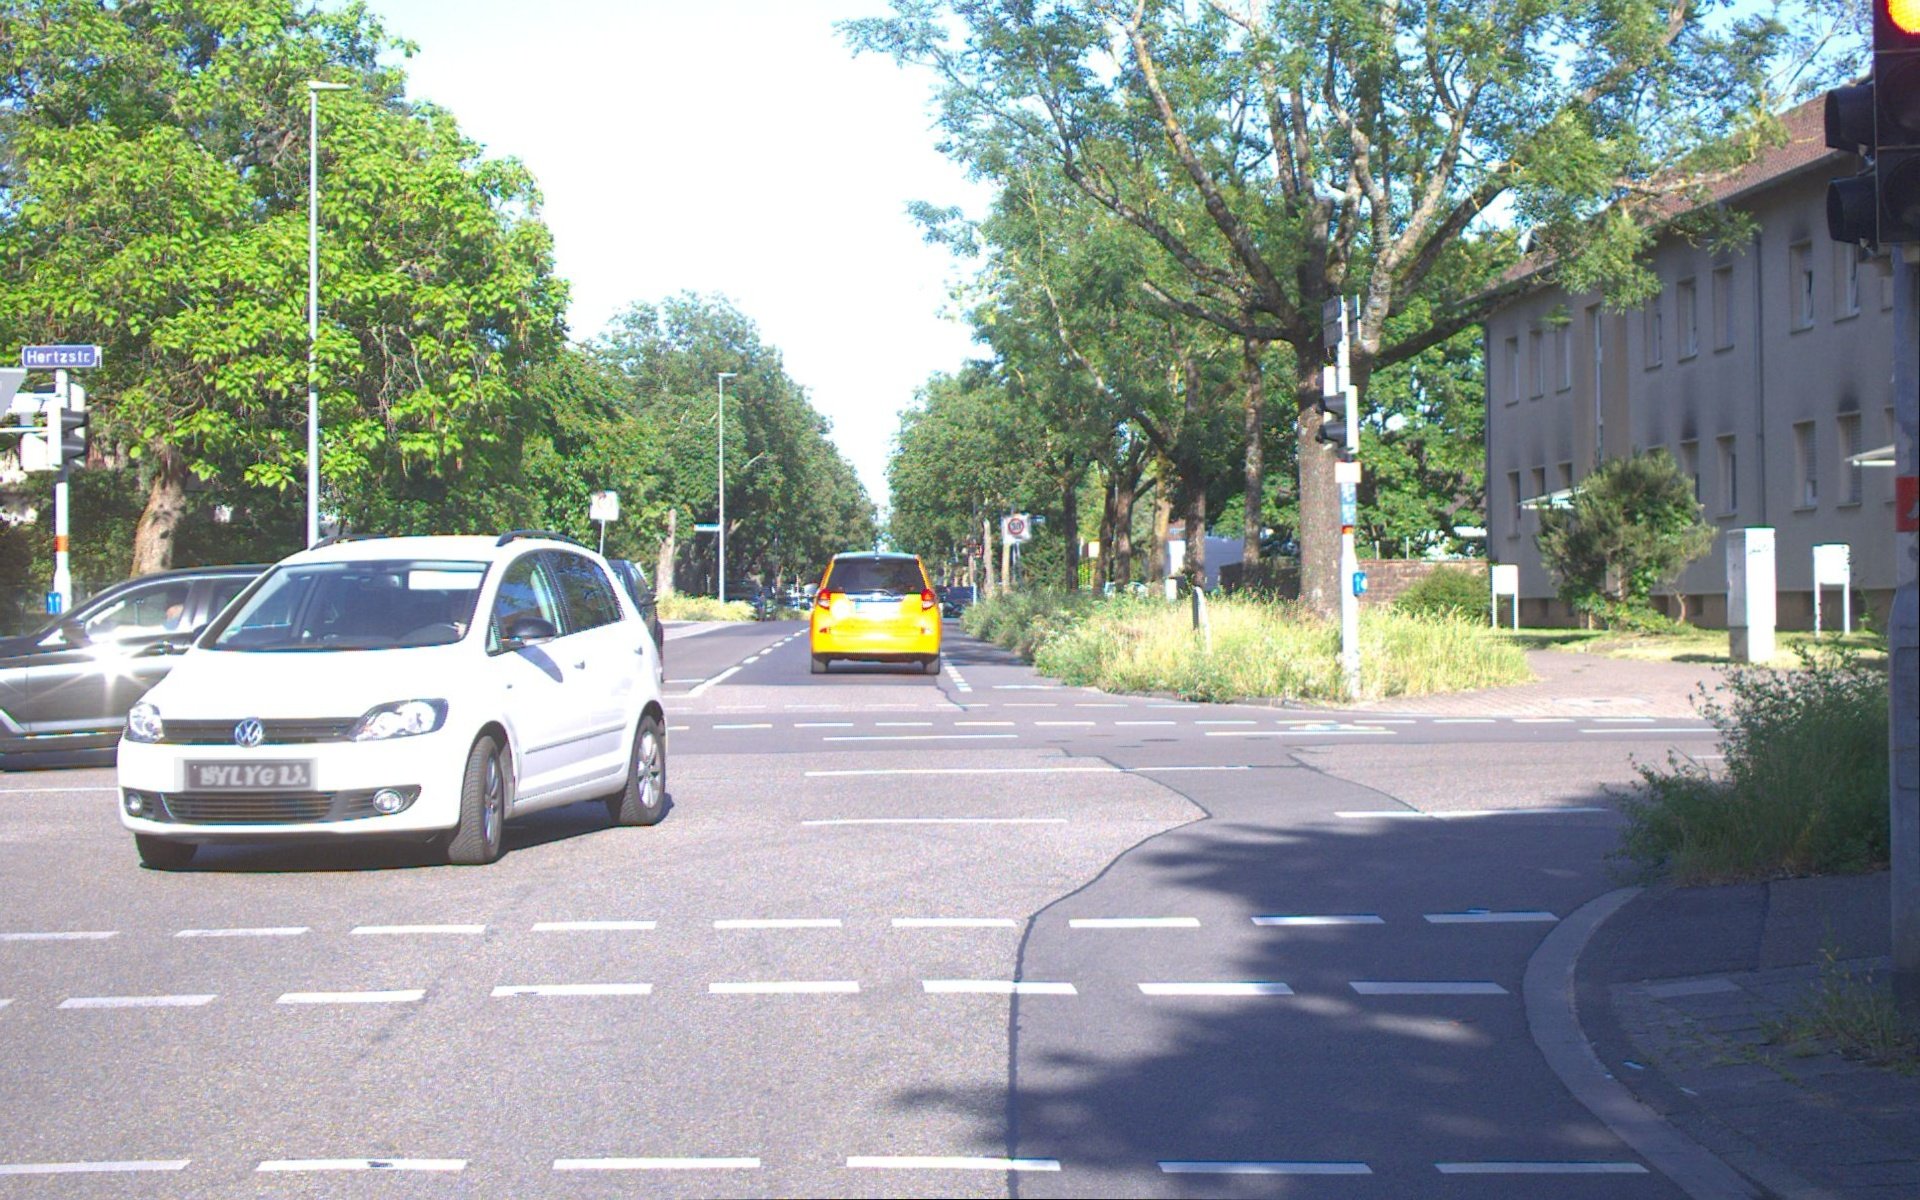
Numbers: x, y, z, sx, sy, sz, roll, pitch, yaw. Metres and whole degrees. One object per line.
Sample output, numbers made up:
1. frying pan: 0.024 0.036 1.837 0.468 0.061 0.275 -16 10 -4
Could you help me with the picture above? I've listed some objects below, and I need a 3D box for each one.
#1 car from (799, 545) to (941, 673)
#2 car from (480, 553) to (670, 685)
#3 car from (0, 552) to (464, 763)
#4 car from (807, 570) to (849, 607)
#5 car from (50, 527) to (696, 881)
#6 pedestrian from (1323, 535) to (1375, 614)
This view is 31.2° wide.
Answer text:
1. car: -1.140 0.096 45.072 1.751 1.577 4.000 1 0 0
2. car: -4.276 0.177 38.612 1.711 1.381 3.471 0 1 0
3. car: -6.161 0.416 25.838 4.726 1.425 2.001 -2 1 -10
4. car: -5.977 -0.526 156.355 1.758 1.619 3.268 0 1 0
5. car: -2.805 0.438 17.429 1.753 1.558 4.118 -2 1 13
6. pedestrian: 7.524 -0.501 66.464 0.842 1.488 0.924 2 1 -1
